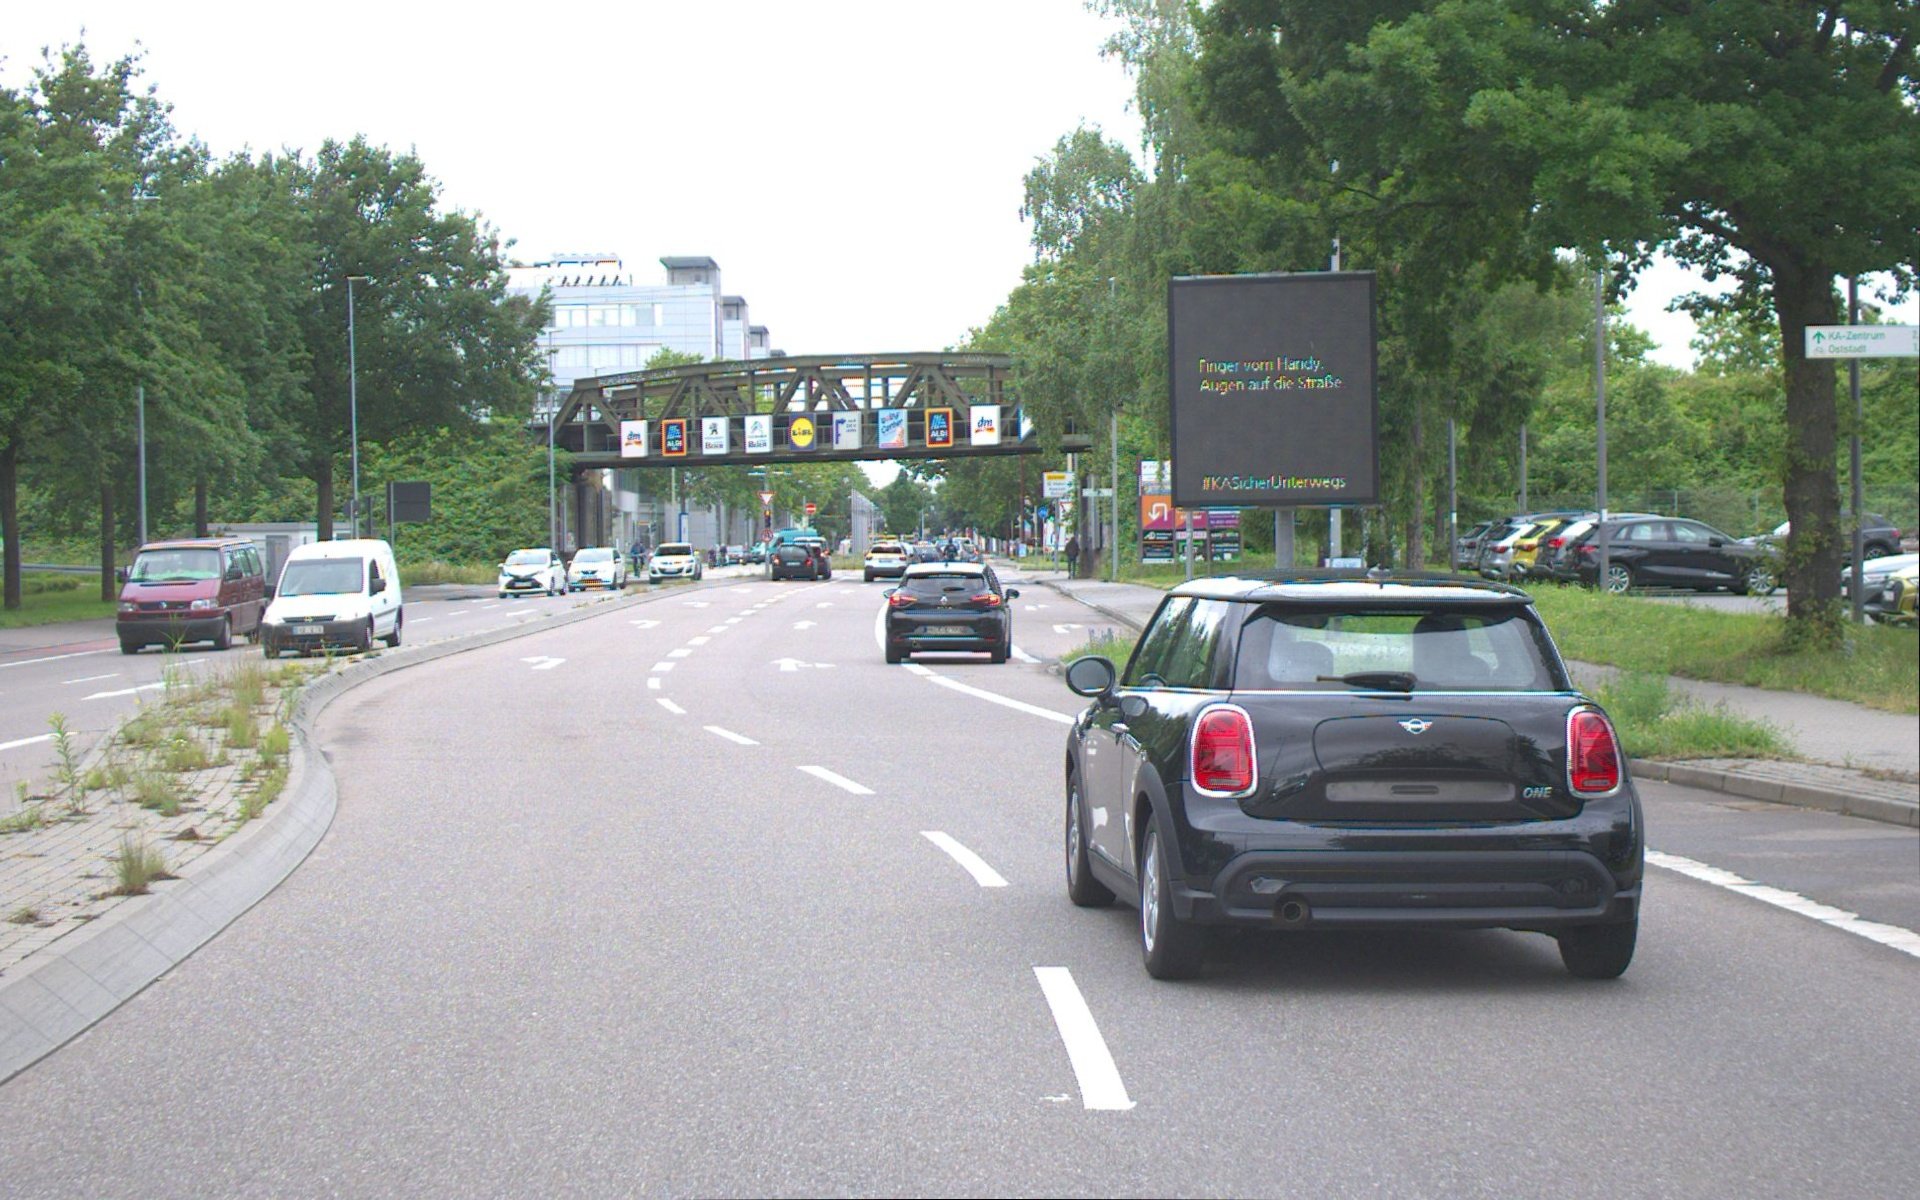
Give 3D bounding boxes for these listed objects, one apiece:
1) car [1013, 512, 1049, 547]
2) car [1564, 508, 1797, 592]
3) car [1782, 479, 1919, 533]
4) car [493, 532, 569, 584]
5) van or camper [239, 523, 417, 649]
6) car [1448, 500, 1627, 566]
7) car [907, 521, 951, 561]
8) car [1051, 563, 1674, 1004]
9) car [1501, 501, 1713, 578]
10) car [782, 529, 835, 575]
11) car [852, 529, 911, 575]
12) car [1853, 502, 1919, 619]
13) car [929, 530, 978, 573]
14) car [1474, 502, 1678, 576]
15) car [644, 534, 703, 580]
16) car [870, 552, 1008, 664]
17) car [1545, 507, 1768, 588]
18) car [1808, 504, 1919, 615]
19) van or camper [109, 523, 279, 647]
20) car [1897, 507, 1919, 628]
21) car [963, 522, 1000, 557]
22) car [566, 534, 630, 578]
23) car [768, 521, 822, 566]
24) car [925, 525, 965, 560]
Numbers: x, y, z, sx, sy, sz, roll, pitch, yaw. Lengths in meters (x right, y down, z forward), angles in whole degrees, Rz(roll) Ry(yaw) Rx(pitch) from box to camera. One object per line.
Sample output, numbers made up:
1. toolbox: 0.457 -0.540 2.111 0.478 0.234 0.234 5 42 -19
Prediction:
1. car: 3.972 -3.972 192.235 1.950 1.809 4.000 0 3 2
2. car: 13.127 -0.924 62.823 3.988 1.430 1.730 1 3 6
3. car: 25.053 -2.623 95.744 3.988 1.430 1.730 1 3 6
4. car: -12.922 -1.276 103.623 1.754 1.441 3.339 0 3 2
5. van or camper: -9.850 -0.256 53.904 1.755 1.741 4.407 -4 2 2
6. car: 13.398 -1.567 79.907 3.988 1.430 1.730 1 3 6
7. car: -1.518 -2.899 168.235 1.950 1.809 4.000 0 3 2
8. car: 1.365 0.584 13.042 1.786 1.411 3.643 1 0 -2
9. car: 12.823 -1.216 68.322 3.988 1.430 1.730 1 3 6
10. car: -6.439 -2.055 146.755 1.950 1.809 4.000 0 3 2
11. car: -3.116 -1.944 137.967 2.135 1.656 3.782 0 3 2
12. car: 13.760 -0.514 44.117 4.085 1.430 1.847 0 3 -1
13. car: -0.255 -2.064 144.609 1.884 1.656 3.782 0 3 2
14. car: 12.633 -1.271 70.680 3.988 1.430 1.730 1 3 6
15. car: -11.556 -1.755 138.921 1.940 1.670 3.782 0 3 2
16. car: -0.269 0.083 49.696 1.757 1.429 4.000 -1 2 3
17. car: 13.185 -1.004 65.294 3.988 1.430 1.730 1 3 6
18. car: 13.727 -0.555 46.435 4.085 1.430 1.730 0 3 -1
19. van or camper: -13.343 -0.308 60.146 1.875 1.979 4.890 -2 2 -1
20. car: 13.682 -0.375 41.713 4.085 1.430 1.822 0 3 -1
21. car: 1.199 -3.388 191.915 1.950 1.809 4.000 0 3 2
22. car: -12.517 -1.542 119.120 1.719 1.366 3.440 0 3 2
23. car: -6.701 -2.308 139.894 1.884 1.656 3.782 0 3 2
24. car: -0.767 -2.994 179.128 1.884 1.656 3.782 0 3 2
